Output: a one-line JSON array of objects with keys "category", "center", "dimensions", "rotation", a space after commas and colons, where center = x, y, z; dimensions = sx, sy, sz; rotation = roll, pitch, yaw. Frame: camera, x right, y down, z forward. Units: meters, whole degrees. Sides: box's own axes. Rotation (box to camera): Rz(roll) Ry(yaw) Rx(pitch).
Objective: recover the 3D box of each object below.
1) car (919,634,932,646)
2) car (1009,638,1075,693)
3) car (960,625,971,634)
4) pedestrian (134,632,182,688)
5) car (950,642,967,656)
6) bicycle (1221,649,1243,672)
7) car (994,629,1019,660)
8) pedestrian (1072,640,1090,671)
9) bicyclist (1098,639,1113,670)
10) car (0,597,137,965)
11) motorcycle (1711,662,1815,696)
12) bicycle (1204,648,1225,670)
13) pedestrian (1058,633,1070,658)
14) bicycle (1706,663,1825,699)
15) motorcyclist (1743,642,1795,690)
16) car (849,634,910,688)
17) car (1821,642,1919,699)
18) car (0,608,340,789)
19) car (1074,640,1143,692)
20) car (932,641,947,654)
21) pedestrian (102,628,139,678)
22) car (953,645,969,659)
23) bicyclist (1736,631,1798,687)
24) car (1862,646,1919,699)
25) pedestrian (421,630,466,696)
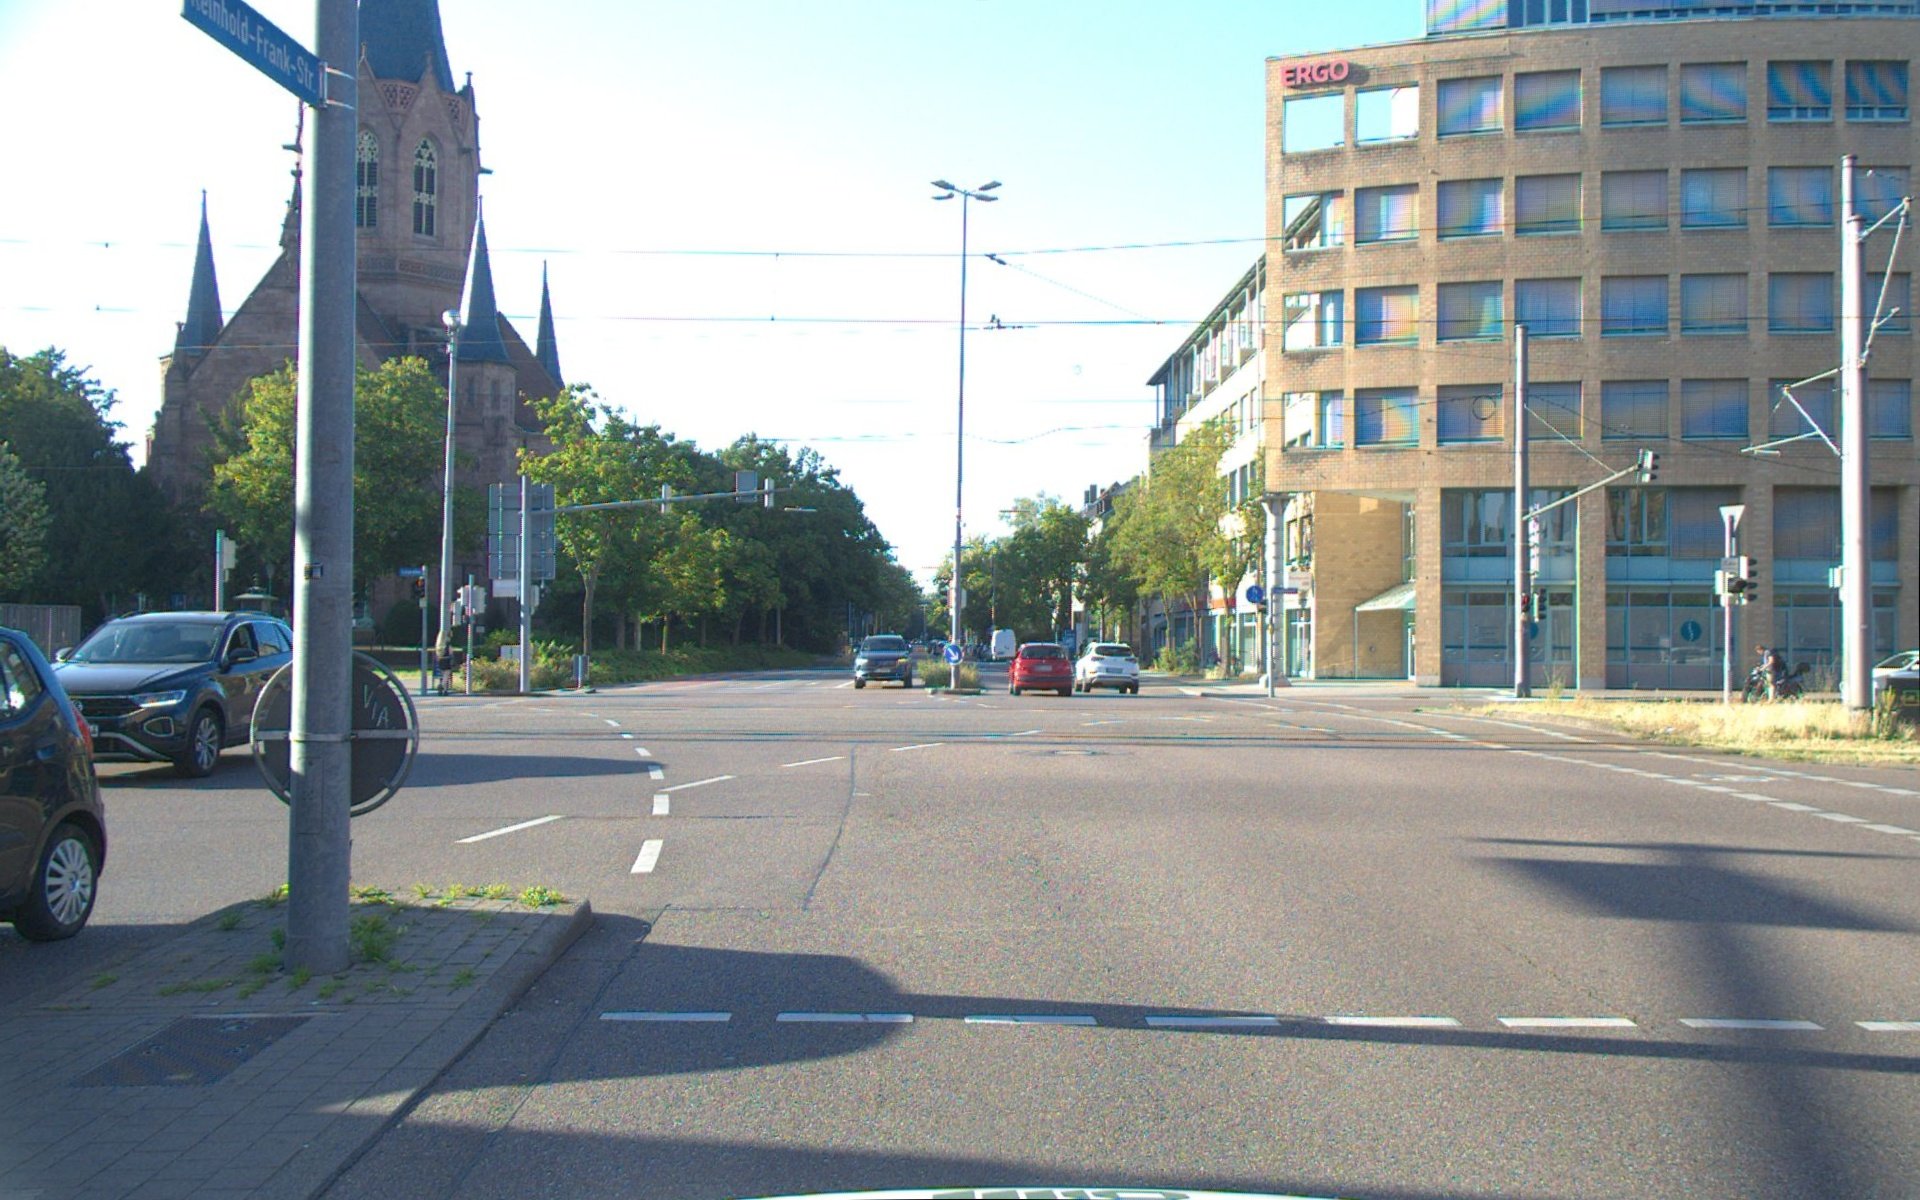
[{"category": "car", "center": [-5.125, 5.943, 244.490], "dimensions": [1.848, 1.700, 3.999], "rotation": [2, -1, 0]}, {"category": "car", "center": [2.338, 1.870, 47.847], "dimensions": [1.636, 1.488, 3.999], "rotation": [2, -1, 0]}, {"category": "car", "center": [0.847, 4.487, 248.818], "dimensions": [1.562, 1.289, 3.266], "rotation": [0, -1, 0]}, {"category": "pedestrian", "center": [-25.400, 1.905, 52.395], "dimensions": [0.992, 1.726, 0.845], "rotation": [1, -2, 20]}, {"category": "car", "center": [-0.159, 4.434, 149.896], "dimensions": [1.562, 1.289, 3.266], "rotation": [0, -1, 0]}, {"category": "bicycle", "center": [12.139, 2.695, 73.853], "dimensions": [0.633, 1.012, 2.080], "rotation": [0, -2, -1]}, {"category": "car", "center": [3.875, 3.710, 138.084], "dimensions": [1.953, 2.483, 3.999], "rotation": [2, -1, 0]}, {"category": "pedestrian", "center": [7.980, 3.640, 108.795], "dimensions": [1.085, 2.011, 1.161], "rotation": [0, -2, -1]}, {"category": "bicyclist", "center": [6.841, 2.561, 77.838], "dimensions": [0.580, 1.393, 0.929], "rotation": [2, -1, 0]}, {"category": "car", "center": [-4.894, 0.780, 6.465], "dimensions": [1.545, 1.571, 3.477], "rotation": [-1, -1, 1]}, {"category": "motorcycle", "center": [24.451, 2.394, 50.386], "dimensions": [2.663, 0.981, 1.031], "rotation": [0, -2, -2]}, {"category": "bicycle", "center": [12.069, 2.797, 78.340], "dimensions": [0.633, 1.012, 2.080], "rotation": [0, -2, -1]}, {"category": "pedestrian", "center": [7.794, 3.424, 124.165], "dimensions": [0.830, 1.835, 0.775], "rotation": [0, -1, -1]}, {"category": "bicycle", "center": [23.332, 2.341, 47.935], "dimensions": [2.901, 1.018, 1.153], "rotation": [0, -1, -3]}, {"category": "motorcyclist", "center": [24.644, 2.007, 50.404], "dimensions": [1.043, 1.461, 1.031], "rotation": [0, -2, -1]}, {"category": "car", "center": [-2.724, 2.102, 56.928], "dimensions": [1.953, 1.754, 5.029], "rotation": [0, -2, -1]}, {"category": "car", "center": [26.176, 1.932, 45.398], "dimensions": [4.079, 1.518, 1.994], "rotation": [0, -2, -3]}, {"category": "car", "center": [-7.932, 0.887, 16.824], "dimensions": [1.758, 1.593, 4.146], "rotation": [0, 0, -1]}, {"category": "car", "center": [5.005, 2.210, 56.155], "dimensions": [1.877, 1.635, 4.268], "rotation": [2, -1, 0]}, {"category": "car", "center": [-2.225, 5.114, 177.444], "dimensions": [1.562, 1.289, 3.266], "rotation": [0, -1, 0]}, {"category": "pedestrian", "center": [-29.409, 1.846, 57.936], "dimensions": [0.999, 1.726, 0.839], "rotation": [0, -2, 43]}, {"category": "car", "center": [0.061, 5.052, 161.869], "dimensions": [1.562, 1.289, 3.266], "rotation": [0, -1, 0]}, {"category": "bicyclist", "center": [23.381, 1.690, 47.956], "dimensions": [1.198, 1.599, 1.153], "rotation": [0, -2, -2]}, {"category": "car", "center": [30.308, 2.213, 50.549], "dimensions": [4.390, 1.564, 1.986], "rotation": [0, -2, 0]}, {"category": "pedestrian", "center": [-14.161, 1.726, 45.380], "dimensions": [0.945, 1.770, 0.812], "rotation": [0, -2, 1]}]
